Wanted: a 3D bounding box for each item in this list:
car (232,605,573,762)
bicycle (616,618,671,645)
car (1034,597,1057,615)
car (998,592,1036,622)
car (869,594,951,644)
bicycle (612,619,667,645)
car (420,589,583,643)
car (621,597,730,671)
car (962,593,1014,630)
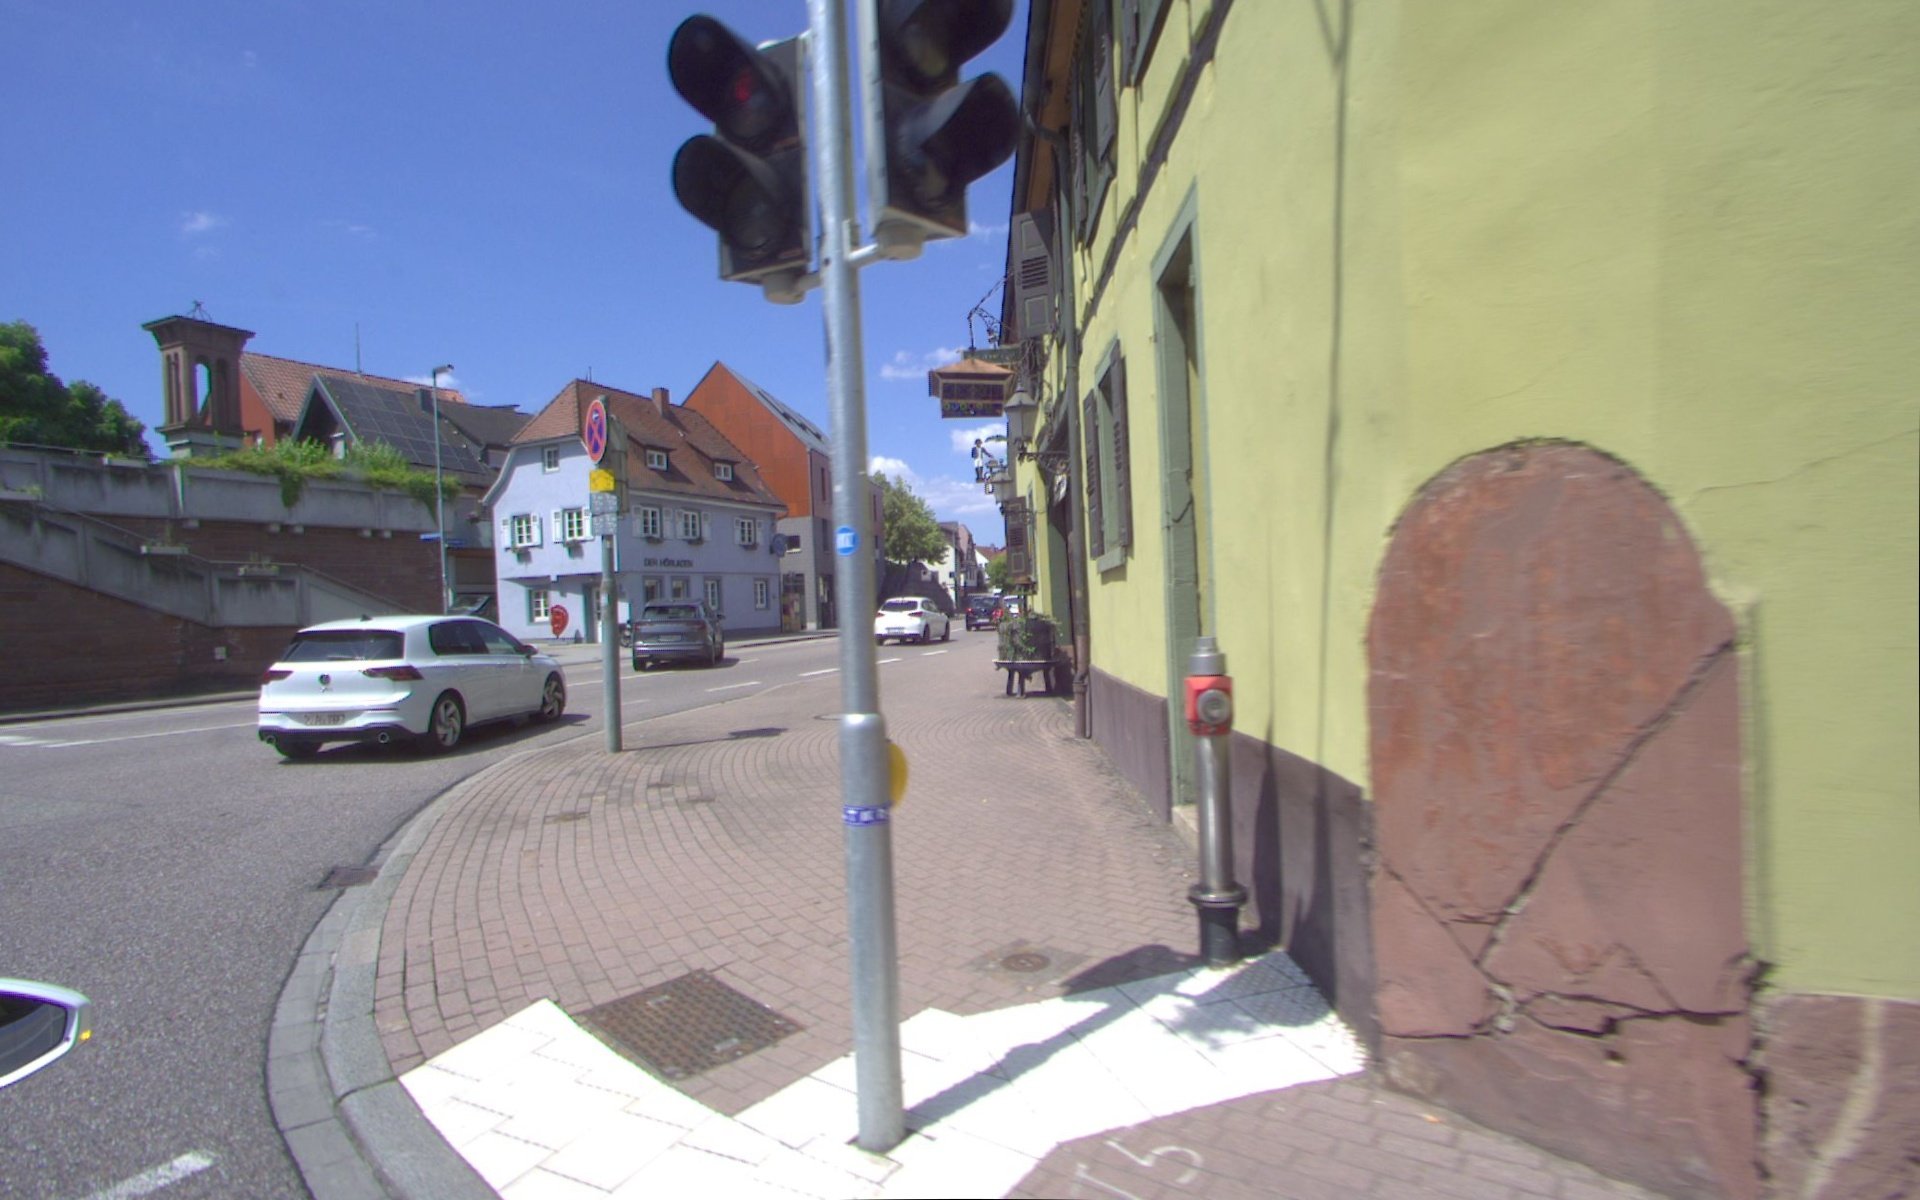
[{"bbox_3d":[-6.185,0.830,11.706,1.754,1.477,3.863,-2,0,1],"label":"car"},{"bbox_3d":[-11.480,1.137,36.312,1.797,0.911,0.619,0,0,-31],"label":"bicycle"},{"bbox_3d":[7.266,0.515,85.025,1.754,1.477,3.862,-2,0,7],"label":"car"},{"bbox_3d":[3.074,0.389,53.526,1.754,1.477,3.862,-2,0,7],"label":"car"},{"bbox_3d":[-1.529,0.578,32.137,1.755,1.477,3.860,-2,0,11],"label":"car"},{"bbox_3d":[-11.802,1.176,36.891,1.797,0.911,0.645,0,0,-31],"label":"bicycle"},{"bbox_3d":[-19.693,0.638,43.344,2.490,2.040,5.961,-3,-1,33],"label":"car"},{"bbox_3d":[-6.744,0.752,24.199,1.918,1.603,4.323,-1,0,-8],"label":"car"},{"bbox_3d":[1.253,0.489,42.955,1.754,1.477,3.861,-2,0,8],"label":"car"}]
